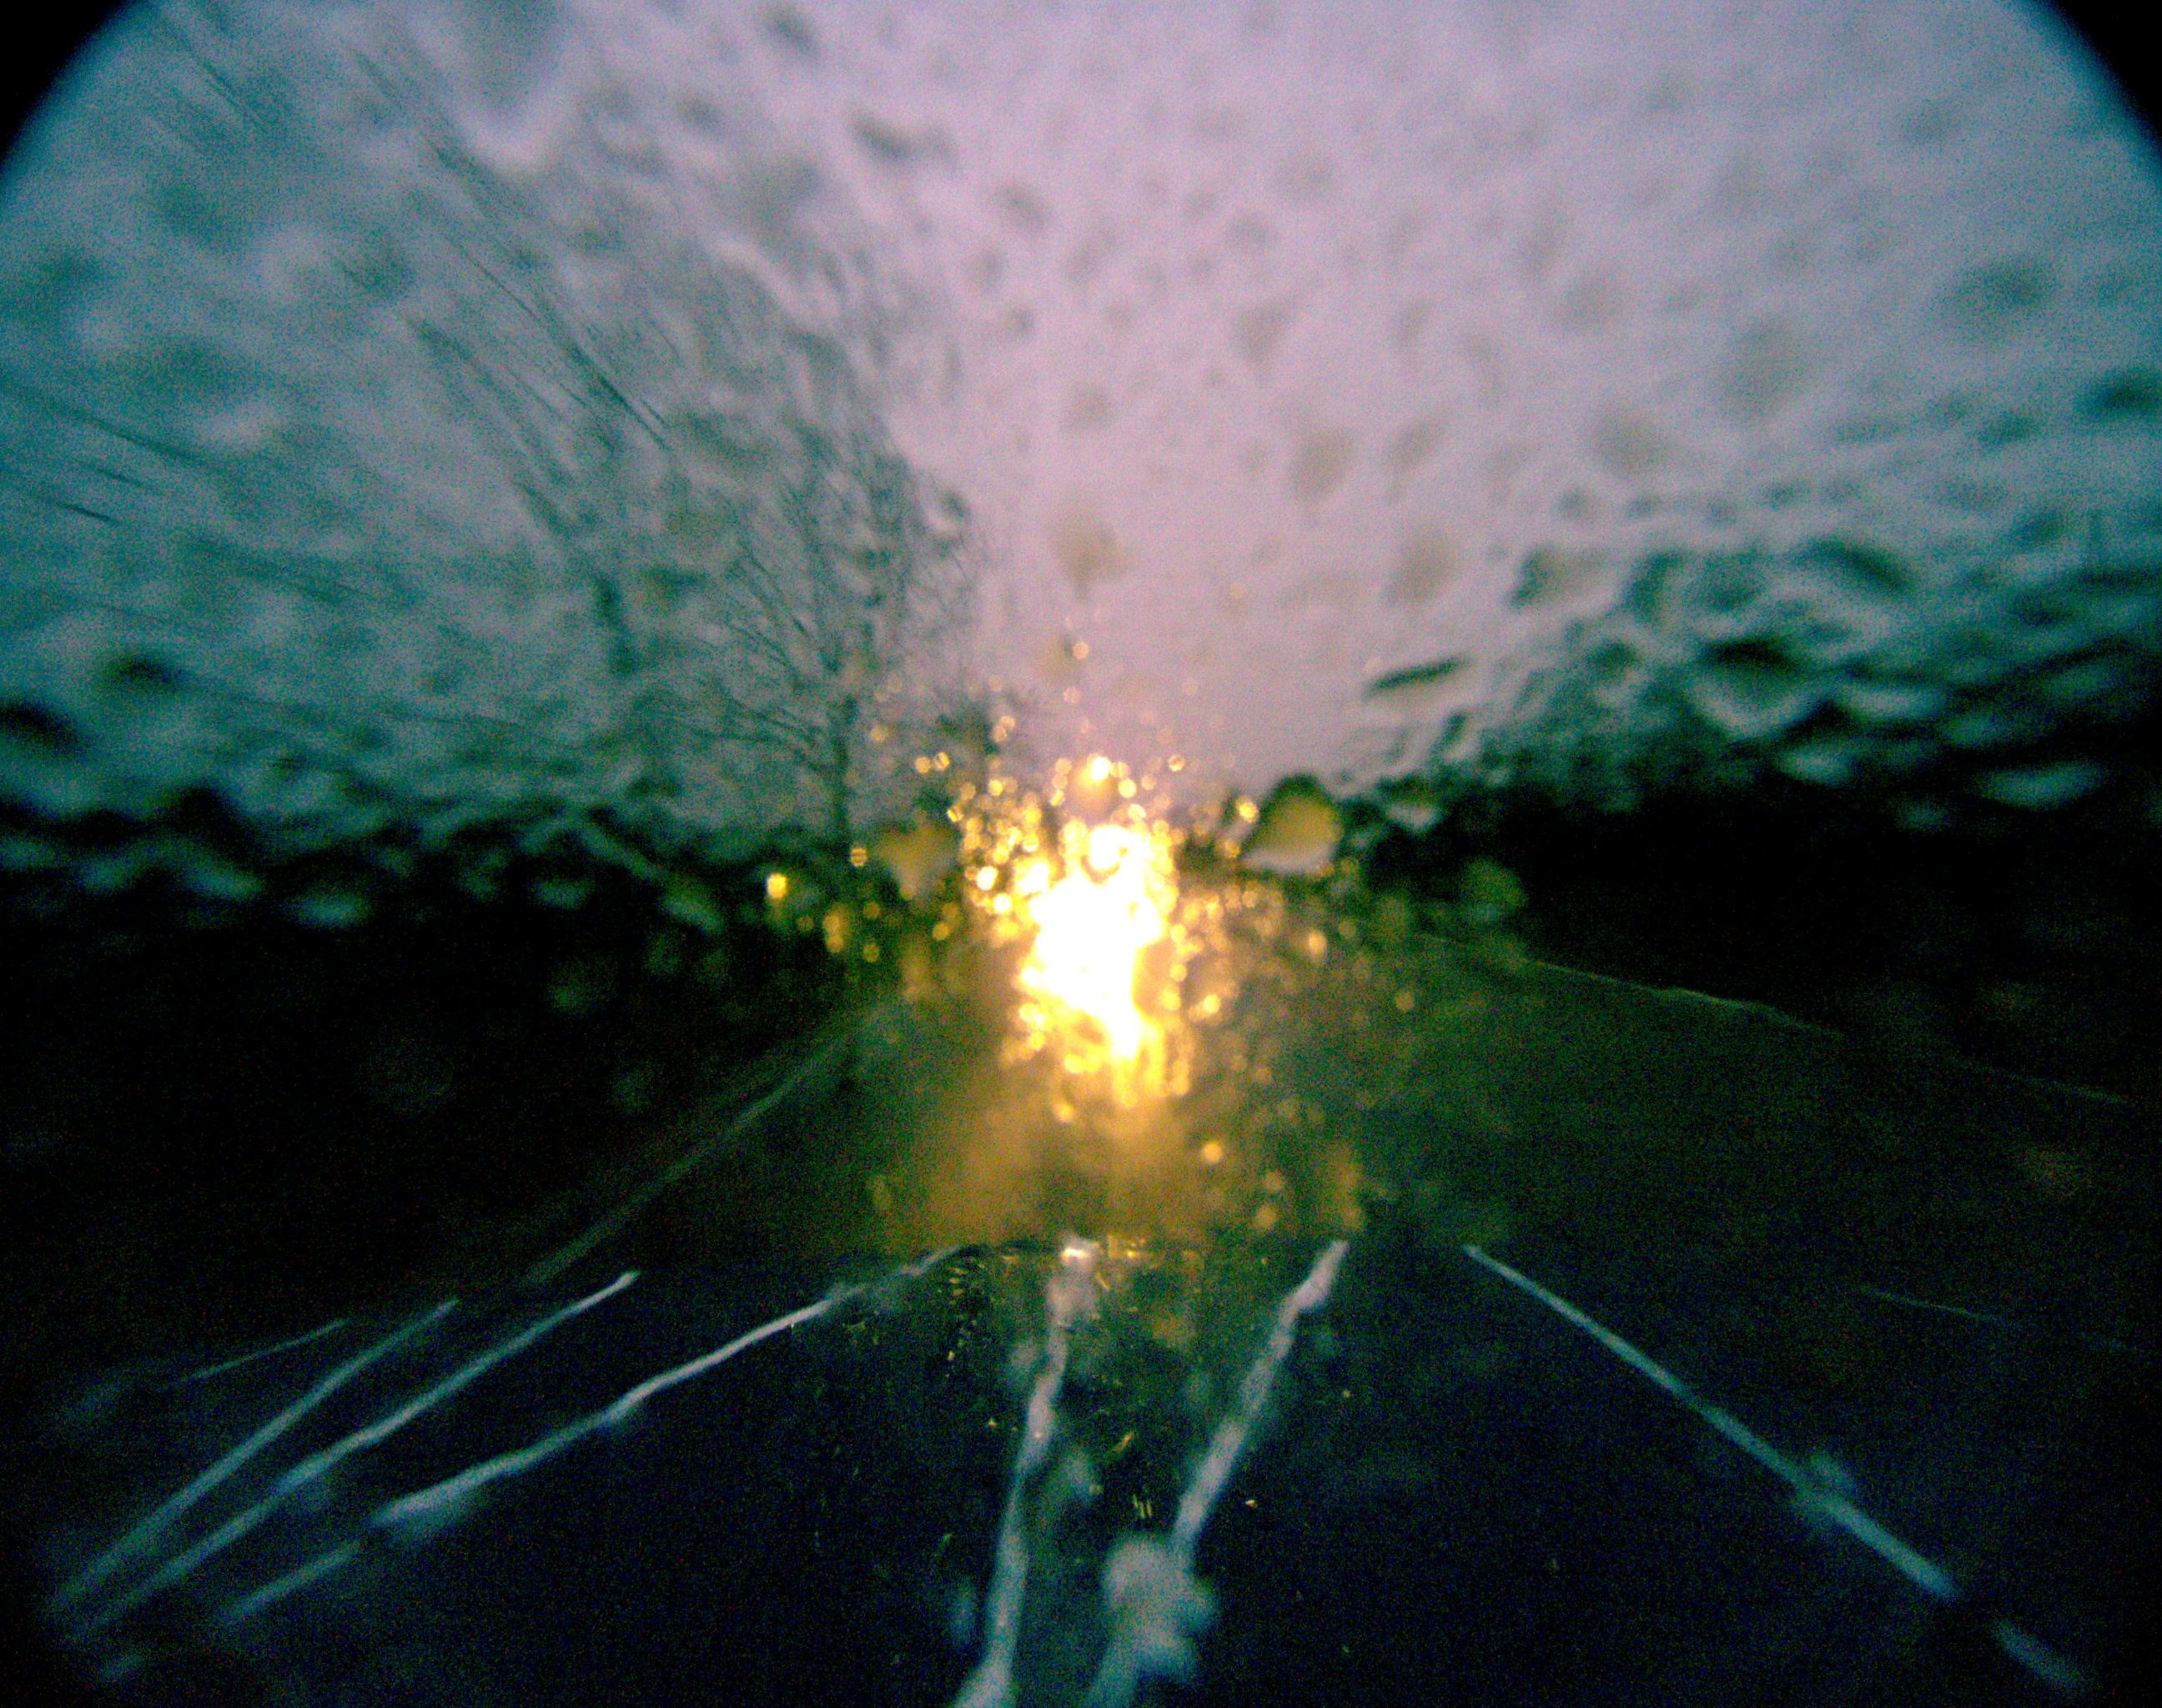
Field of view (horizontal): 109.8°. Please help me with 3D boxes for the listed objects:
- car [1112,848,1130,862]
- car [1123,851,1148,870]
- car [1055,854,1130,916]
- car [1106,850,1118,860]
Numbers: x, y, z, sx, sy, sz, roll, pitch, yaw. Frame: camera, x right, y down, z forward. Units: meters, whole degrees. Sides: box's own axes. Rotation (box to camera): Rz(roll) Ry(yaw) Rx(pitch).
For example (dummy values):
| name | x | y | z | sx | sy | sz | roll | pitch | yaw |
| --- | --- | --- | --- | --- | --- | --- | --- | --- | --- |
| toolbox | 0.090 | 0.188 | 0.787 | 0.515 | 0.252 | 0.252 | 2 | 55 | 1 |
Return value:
| name | x | y | z | sx | sy | sz | roll | pitch | yaw |
| --- | --- | --- | --- | --- | --- | --- | --- | --- | --- |
| car | 5.066 | 0.148 | 96.203 | 1.927 | 1.645 | 4.104 | -2 | 0 | 0 |
| car | 4.372 | 0.510 | 61.229 | 1.821 | 1.433 | 3.456 | -3 | 0 | 4 |
| car | 0.448 | 0.865 | 23.189 | 1.998 | 1.601 | 4.001 | -3 | 0 | 4 |
| car | 5.334 | 0.148 | 130.805 | 1.784 | 1.587 | 4.692 | -2 | 0 | 1 |
